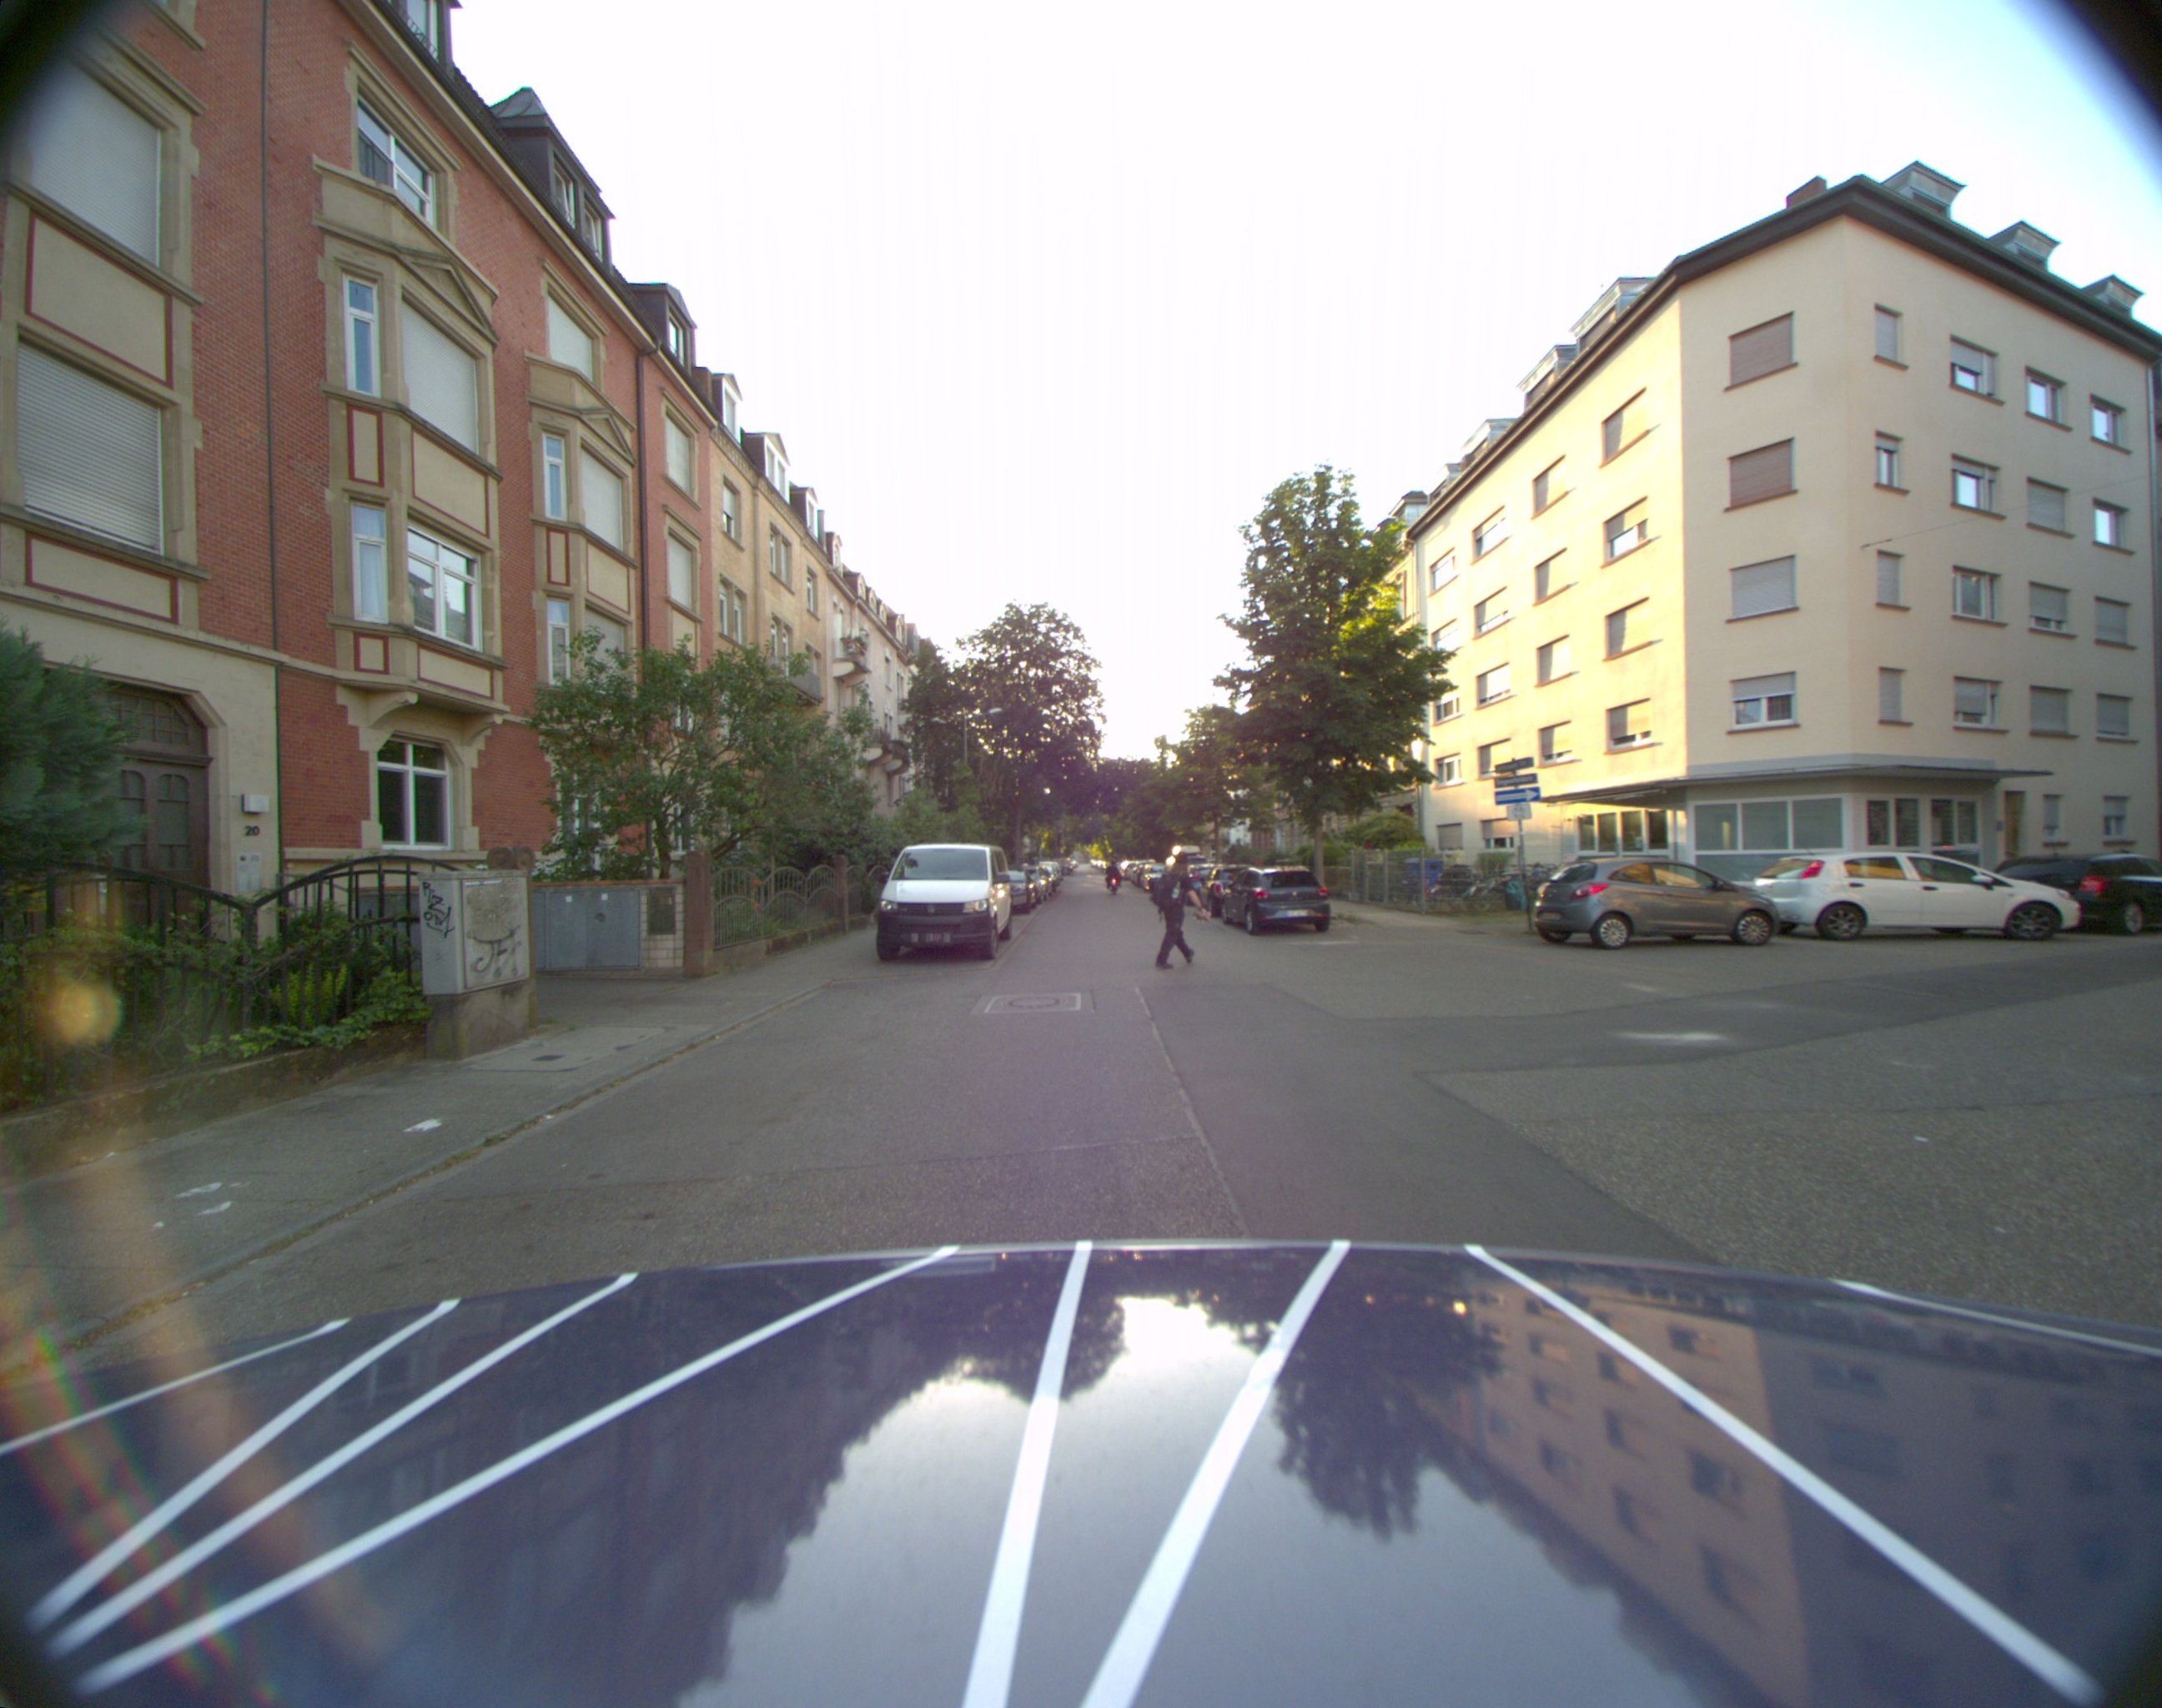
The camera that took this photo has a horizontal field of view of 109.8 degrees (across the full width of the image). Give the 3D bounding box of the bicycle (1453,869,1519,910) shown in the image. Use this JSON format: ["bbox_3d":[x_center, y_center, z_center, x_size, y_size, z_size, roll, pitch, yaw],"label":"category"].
[{"bbox_3d":[11.447,0.988,21.499,0.502,1.086,1.545,-3,0,-37],"label":"bicycle"}]

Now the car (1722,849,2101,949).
[{"bbox_3d":[14.199,0.755,13.308,4.066,1.499,1.975,-3,0,12],"label":"car"}]

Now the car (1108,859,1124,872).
[{"bbox_3d":[4.529,1.496,98.652,1.953,1.484,3.738,-2,0,0],"label":"car"}]

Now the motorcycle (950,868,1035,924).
[{"bbox_3d":[-2.500,1.150,21.455,2.099,1.473,1.130,0,0,-33],"label":"motorcycle"}]

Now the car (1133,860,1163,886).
[{"bbox_3d":[4.252,1.195,48.373,1.682,1.489,3.626,-2,0,2],"label":"car"}]

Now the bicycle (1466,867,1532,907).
[{"bbox_3d":[11.924,0.947,21.727,0.502,1.086,1.545,-3,0,-37],"label":"bicycle"}]

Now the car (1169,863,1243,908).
[{"bbox_3d":[4.500,1.084,27.947,1.866,1.404,4.590,-2,0,-1],"label":"car"}]

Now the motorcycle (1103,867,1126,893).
[{"bbox_3d":[1.638,1.249,37.006,0.848,1.202,2.076,2,0,10],"label":"motorcycle"}]

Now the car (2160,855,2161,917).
[{"bbox_3d":[26.614,0.700,17.058,4.004,1.399,1.872,0,-1,-22],"label":"car"}]

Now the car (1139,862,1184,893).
[{"bbox_3d":[4.083,1.157,39.198,1.733,1.433,4.024,-2,0,-2],"label":"car"}]

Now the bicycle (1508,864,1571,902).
[{"bbox_3d":[13.958,0.873,23.147,1.635,1.086,0.500,-3,0,-6],"label":"bicycle"}]

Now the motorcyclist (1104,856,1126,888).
[{"bbox_3d":[1.664,0.879,37.137,0.891,1.496,0.970,2,1,10],"label":"motorcyclist"}]

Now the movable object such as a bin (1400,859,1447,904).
[{"bbox_3d":[10.940,0.857,24.338,0.868,1.344,1.398,-3,0,2],"label":"movable object such as a bin"}]

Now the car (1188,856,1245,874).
[{"bbox_3d":[11.124,0.922,62.503,4.413,1.333,1.626,-2,0,1],"label":"car"}]

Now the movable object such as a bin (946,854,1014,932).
[{"bbox_3d":[-2.545,0.942,19.489,1.415,1.867,2.324,1,0,0],"label":"movable object such as a bin"}]

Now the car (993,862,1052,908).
[{"bbox_3d":[-2.297,1.190,30.816,1.761,1.573,4.842,-3,0,2],"label":"car"}]

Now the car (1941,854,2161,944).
[{"bbox_3d":[18.580,0.749,14.040,4.082,1.430,1.996,-1,-1,-16],"label":"car"}]

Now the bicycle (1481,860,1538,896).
[{"bbox_3d":[13.770,0.759,24.415,1.548,1.086,0.500,-3,0,-6],"label":"bicycle"}]

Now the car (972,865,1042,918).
[{"bbox_3d":[-2.388,1.182,25.562,1.724,1.542,4.326,-2,0,2],"label":"car"}]

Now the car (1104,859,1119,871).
[{"bbox_3d":[4.201,1.479,104.292,1.840,1.484,3.641,-2,0,0],"label":"car"}]

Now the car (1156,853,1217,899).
[{"bbox_3d":[4.492,0.888,32.953,1.866,1.768,4.623,-2,0,-1],"label":"car"}]

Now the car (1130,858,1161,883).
[{"bbox_3d":[4.502,1.118,53.414,1.866,1.653,4.021,-2,0,1],"label":"car"}]

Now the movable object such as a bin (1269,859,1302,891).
[{"bbox_3d":[9.270,0.922,34.466,0.948,1.379,1.551,-3,0,-3],"label":"movable object such as a bin"}]

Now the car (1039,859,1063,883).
[{"bbox_3d":[-2.283,1.286,58.412,1.737,1.691,4.168,-2,0,-2],"label":"car"}]

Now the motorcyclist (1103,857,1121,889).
[{"bbox_3d":[1.492,0.903,36.369,0.788,1.531,0.546,2,1,10],"label":"motorcyclist"}]

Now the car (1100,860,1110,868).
[{"bbox_3d":[4.655,1.941,148.382,1.840,1.484,3.641,-2,0,0],"label":"car"}]

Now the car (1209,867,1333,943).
[{"bbox_3d":[4.314,1.091,17.965,1.679,1.453,4.463,-2,0,-2],"label":"car"}]

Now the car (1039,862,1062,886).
[{"bbox_3d":[-2.114,1.341,52.794,1.502,1.538,3.338,-2,0,-2],"label":"car"}]

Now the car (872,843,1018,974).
[{"bbox_3d":[-2.335,0.853,14.545,1.866,2.027,5.544,0,0,-1],"label":"car"}]

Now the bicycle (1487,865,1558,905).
[{"bbox_3d":[12.554,0.872,21.636,0.386,1.086,1.707,-3,0,-36],"label":"bicycle"}]

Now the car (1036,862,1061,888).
[{"bbox_3d":[-2.064,1.329,48.399,1.479,1.498,3.928,-2,0,-2],"label":"car"}]

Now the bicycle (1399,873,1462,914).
[{"bbox_3d":[9.799,1.090,21.370,0.689,1.019,1.931,-3,0,-5],"label":"bicycle"}]

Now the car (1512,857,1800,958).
[{"bbox_3d":[9.677,0.868,13.018,3.515,1.498,1.845,-2,-1,-1],"label":"car"}]

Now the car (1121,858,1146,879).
[{"bbox_3d":[4.434,1.205,64.720,1.677,1.627,3.940,-2,0,-3],"label":"car"}]

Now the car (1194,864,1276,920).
[{"bbox_3d":[4.482,1.073,22.670,1.746,1.412,4.143,-2,0,2],"label":"car"}]

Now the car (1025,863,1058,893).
[{"bbox_3d":[-2.189,1.334,43.177,1.737,1.498,4.163,-2,0,-2],"label":"car"}]

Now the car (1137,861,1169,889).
[{"bbox_3d":[4.131,1.161,43.915,1.441,1.485,3.298,-2,0,-2],"label":"car"}]

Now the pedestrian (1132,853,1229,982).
[{"bbox_3d":[1.426,0.873,10.900,0.960,1.712,0.889,-3,0,-32],"label":"pedestrian"}]

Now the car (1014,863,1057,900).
[{"bbox_3d":[-2.063,1.216,35.309,1.590,1.516,3.603,-3,0,2],"label":"car"}]
